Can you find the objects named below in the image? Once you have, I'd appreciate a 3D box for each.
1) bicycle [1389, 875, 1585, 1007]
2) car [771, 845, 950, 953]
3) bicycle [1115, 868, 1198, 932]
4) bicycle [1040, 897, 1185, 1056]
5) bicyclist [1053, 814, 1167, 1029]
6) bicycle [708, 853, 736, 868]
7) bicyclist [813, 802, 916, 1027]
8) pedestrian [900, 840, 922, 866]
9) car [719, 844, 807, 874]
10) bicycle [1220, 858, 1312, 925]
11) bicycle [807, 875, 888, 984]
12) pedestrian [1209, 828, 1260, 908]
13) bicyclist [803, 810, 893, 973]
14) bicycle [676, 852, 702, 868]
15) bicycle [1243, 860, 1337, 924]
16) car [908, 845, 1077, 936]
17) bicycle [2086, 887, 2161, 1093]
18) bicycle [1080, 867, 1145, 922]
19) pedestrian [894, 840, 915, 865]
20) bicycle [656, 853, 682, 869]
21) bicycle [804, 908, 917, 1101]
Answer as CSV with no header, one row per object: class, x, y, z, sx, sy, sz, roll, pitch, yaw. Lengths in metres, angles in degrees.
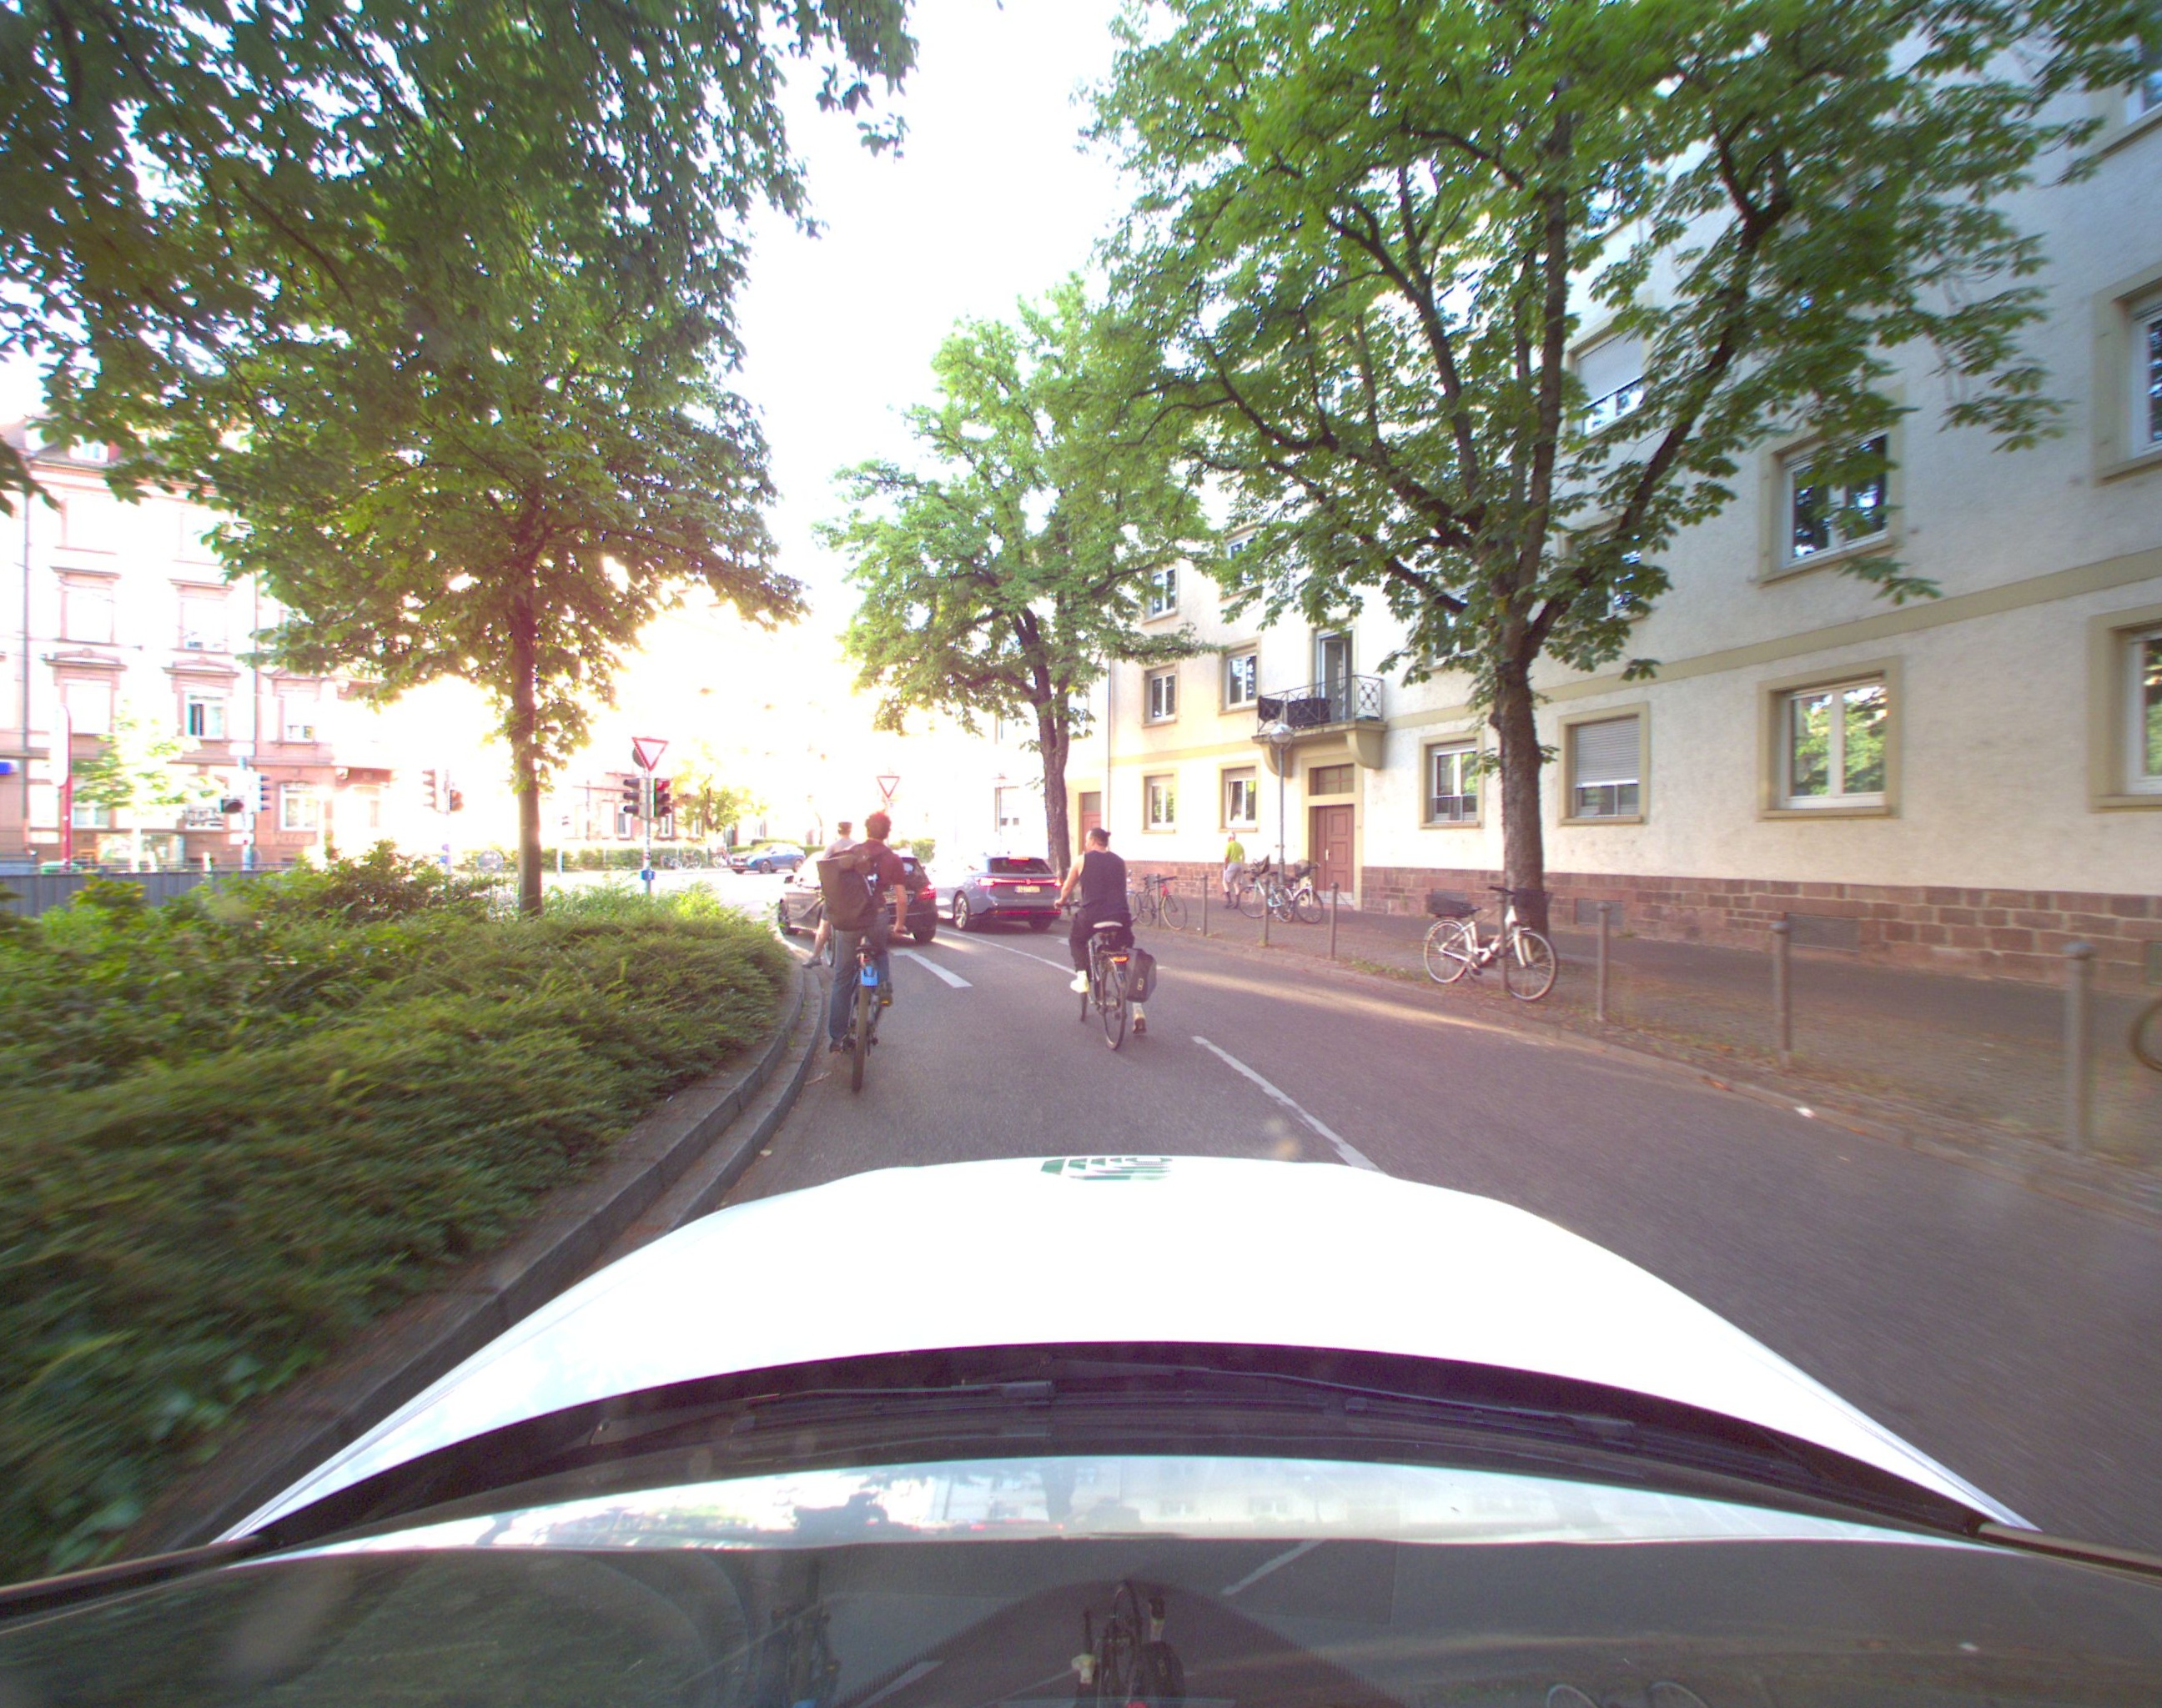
bicycle,4.187,0.834,8.599,0.618,1.112,1.980,-3,2,-18
car,-3.934,0.655,14.080,1.826,1.543,3.917,-2,1,-33
bicycle,1.394,0.834,15.341,0.619,1.058,1.911,-2,1,-27
bicycle,0.188,0.952,7.012,0.738,1.012,2.052,-2,1,-12
bicyclist,0.220,0.522,6.890,0.753,1.682,0.909,0,0,-13
bicycle,-21.270,0.379,48.267,0.444,0.861,1.456,1,0,34
bicyclist,-1.581,0.403,6.077,0.672,1.514,1.065,0,0,-12
pedestrian,-13.263,-0.073,63.468,1.149,1.962,1.393,1,0,15
car,-17.105,0.234,44.029,1.977,1.496,4.396,1,0,20
bicycle,3.520,0.678,15.728,0.497,1.172,2.099,-4,2,-25
bicycle,-2.983,0.878,10.259,0.601,1.161,2.024,0,0,-27
pedestrian,3.572,0.302,18.962,1.003,1.795,0.652,-2,1,-41
bicyclist,-2.930,0.422,10.184,0.856,1.898,1.129,0,1,-29
bicycle,-22.098,0.341,45.940,0.444,0.861,1.232,1,0,34
bicycle,4.055,0.702,15.988,0.585,1.114,2.100,-1,1,-25
car,-1.915,0.614,16.400,1.904,1.577,3.961,0,1,-31
bicycle,6.993,0.803,4.423,0.675,1.182,1.806,-2,0,-27
bicycle,0.610,0.796,16.721,0.522,0.999,2.175,0,0,-21
pedestrian,-13.996,-0.111,64.591,1.149,1.962,1.393,1,0,15
bicycle,-22.716,0.378,44.894,0.444,0.861,1.232,1,0,34
bicycle,-1.567,0.988,6.048,0.674,1.054,2.053,0,-1,-12
